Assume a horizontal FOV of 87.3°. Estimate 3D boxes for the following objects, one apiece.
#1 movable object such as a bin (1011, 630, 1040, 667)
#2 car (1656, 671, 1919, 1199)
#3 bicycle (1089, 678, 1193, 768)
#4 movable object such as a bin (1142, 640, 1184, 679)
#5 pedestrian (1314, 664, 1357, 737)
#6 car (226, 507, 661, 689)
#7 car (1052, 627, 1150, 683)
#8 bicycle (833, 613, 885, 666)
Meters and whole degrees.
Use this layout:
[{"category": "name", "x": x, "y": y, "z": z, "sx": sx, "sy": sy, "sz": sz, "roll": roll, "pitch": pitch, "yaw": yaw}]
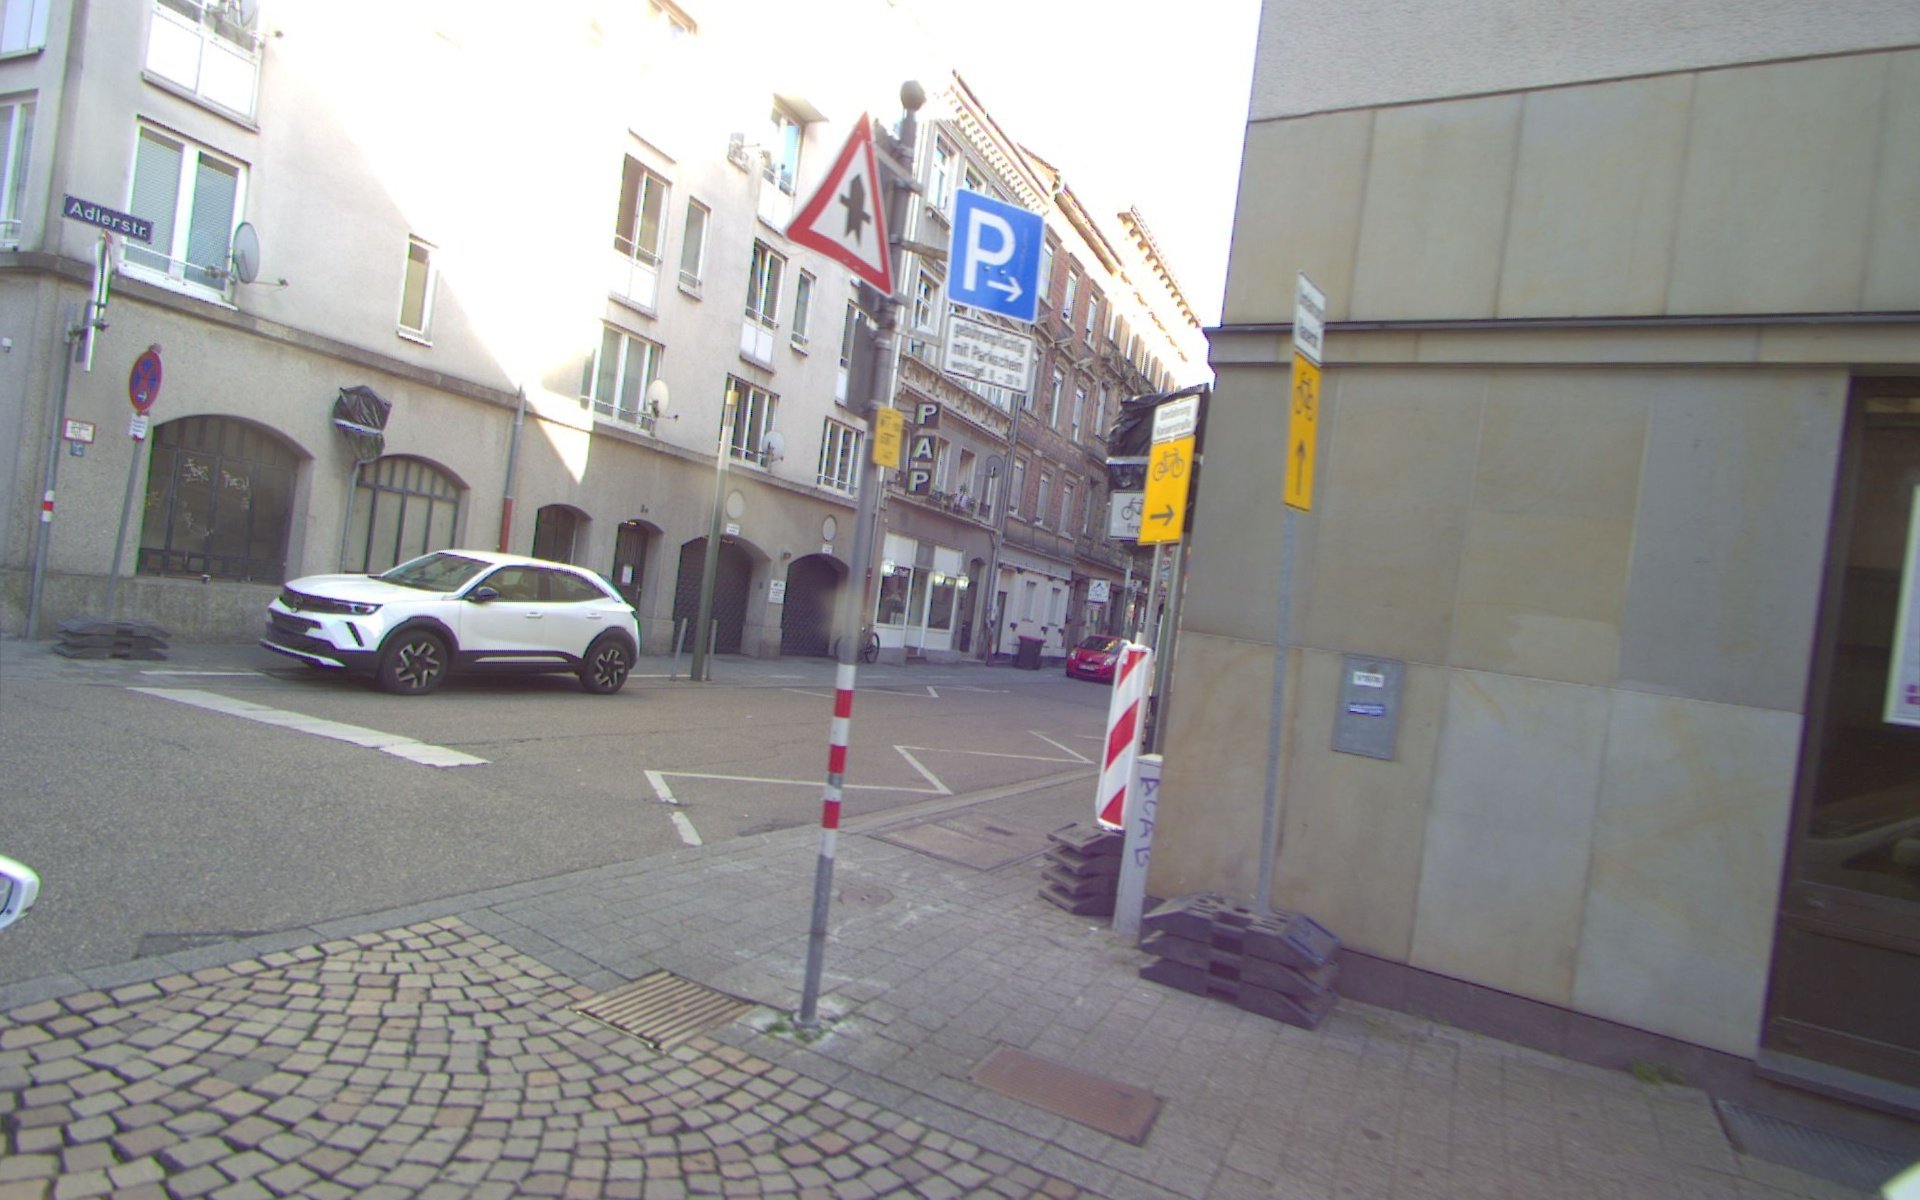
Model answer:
[{"category": "movable object such as a bin", "x": 2.128, "y": 1.591, "z": 32.715, "sx": 0.677, "sy": 1.088, "sz": 0.450, "roll": 10, "pitch": 2, "yaw": 24}, {"category": "car", "x": 3.120, "y": 1.141, "z": 0.765, "sx": 3.929, "sy": 1.566, "sz": 1.736, "roll": 8, "pitch": -1, "yaw": 26}, {"category": "bicycle", "x": 2.298, "y": 1.566, "z": 12.694, "sx": 0.464, "sy": 1.020, "sz": 1.415, "roll": 8, "pitch": -1, "yaw": 44}, {"category": "movable object such as a bin", "x": 8.509, "y": 2.496, "z": 42.078, "sx": 1.034, "sy": 1.407, "sz": 1.998, "roll": 8, "pitch": 0, "yaw": 28}, {"category": "pedestrian", "x": 8.884, "y": 2.358, "z": 23.818, "sx": 0.709, "sy": 1.606, "sz": 0.638, "roll": 8, "pitch": 1, "yaw": 25}, {"category": "car", "x": -5.665, "y": 0.103, "z": 11.617, "sx": 1.736, "sy": 1.586, "sz": 4.078, "roll": 8, "pitch": -1, "yaw": 28}, {"category": "car", "x": 4.766, "y": 1.858, "z": 33.598, "sx": 1.884, "sy": 1.496, "sz": 3.799, "roll": 8, "pitch": -1, "yaw": 28}, {"category": "bicycle", "x": -2.357, "y": 0.937, "z": 23.621, "sx": 0.424, "sy": 1.158, "sz": 1.591, "roll": 8, "pitch": 0, "yaw": 20}]
